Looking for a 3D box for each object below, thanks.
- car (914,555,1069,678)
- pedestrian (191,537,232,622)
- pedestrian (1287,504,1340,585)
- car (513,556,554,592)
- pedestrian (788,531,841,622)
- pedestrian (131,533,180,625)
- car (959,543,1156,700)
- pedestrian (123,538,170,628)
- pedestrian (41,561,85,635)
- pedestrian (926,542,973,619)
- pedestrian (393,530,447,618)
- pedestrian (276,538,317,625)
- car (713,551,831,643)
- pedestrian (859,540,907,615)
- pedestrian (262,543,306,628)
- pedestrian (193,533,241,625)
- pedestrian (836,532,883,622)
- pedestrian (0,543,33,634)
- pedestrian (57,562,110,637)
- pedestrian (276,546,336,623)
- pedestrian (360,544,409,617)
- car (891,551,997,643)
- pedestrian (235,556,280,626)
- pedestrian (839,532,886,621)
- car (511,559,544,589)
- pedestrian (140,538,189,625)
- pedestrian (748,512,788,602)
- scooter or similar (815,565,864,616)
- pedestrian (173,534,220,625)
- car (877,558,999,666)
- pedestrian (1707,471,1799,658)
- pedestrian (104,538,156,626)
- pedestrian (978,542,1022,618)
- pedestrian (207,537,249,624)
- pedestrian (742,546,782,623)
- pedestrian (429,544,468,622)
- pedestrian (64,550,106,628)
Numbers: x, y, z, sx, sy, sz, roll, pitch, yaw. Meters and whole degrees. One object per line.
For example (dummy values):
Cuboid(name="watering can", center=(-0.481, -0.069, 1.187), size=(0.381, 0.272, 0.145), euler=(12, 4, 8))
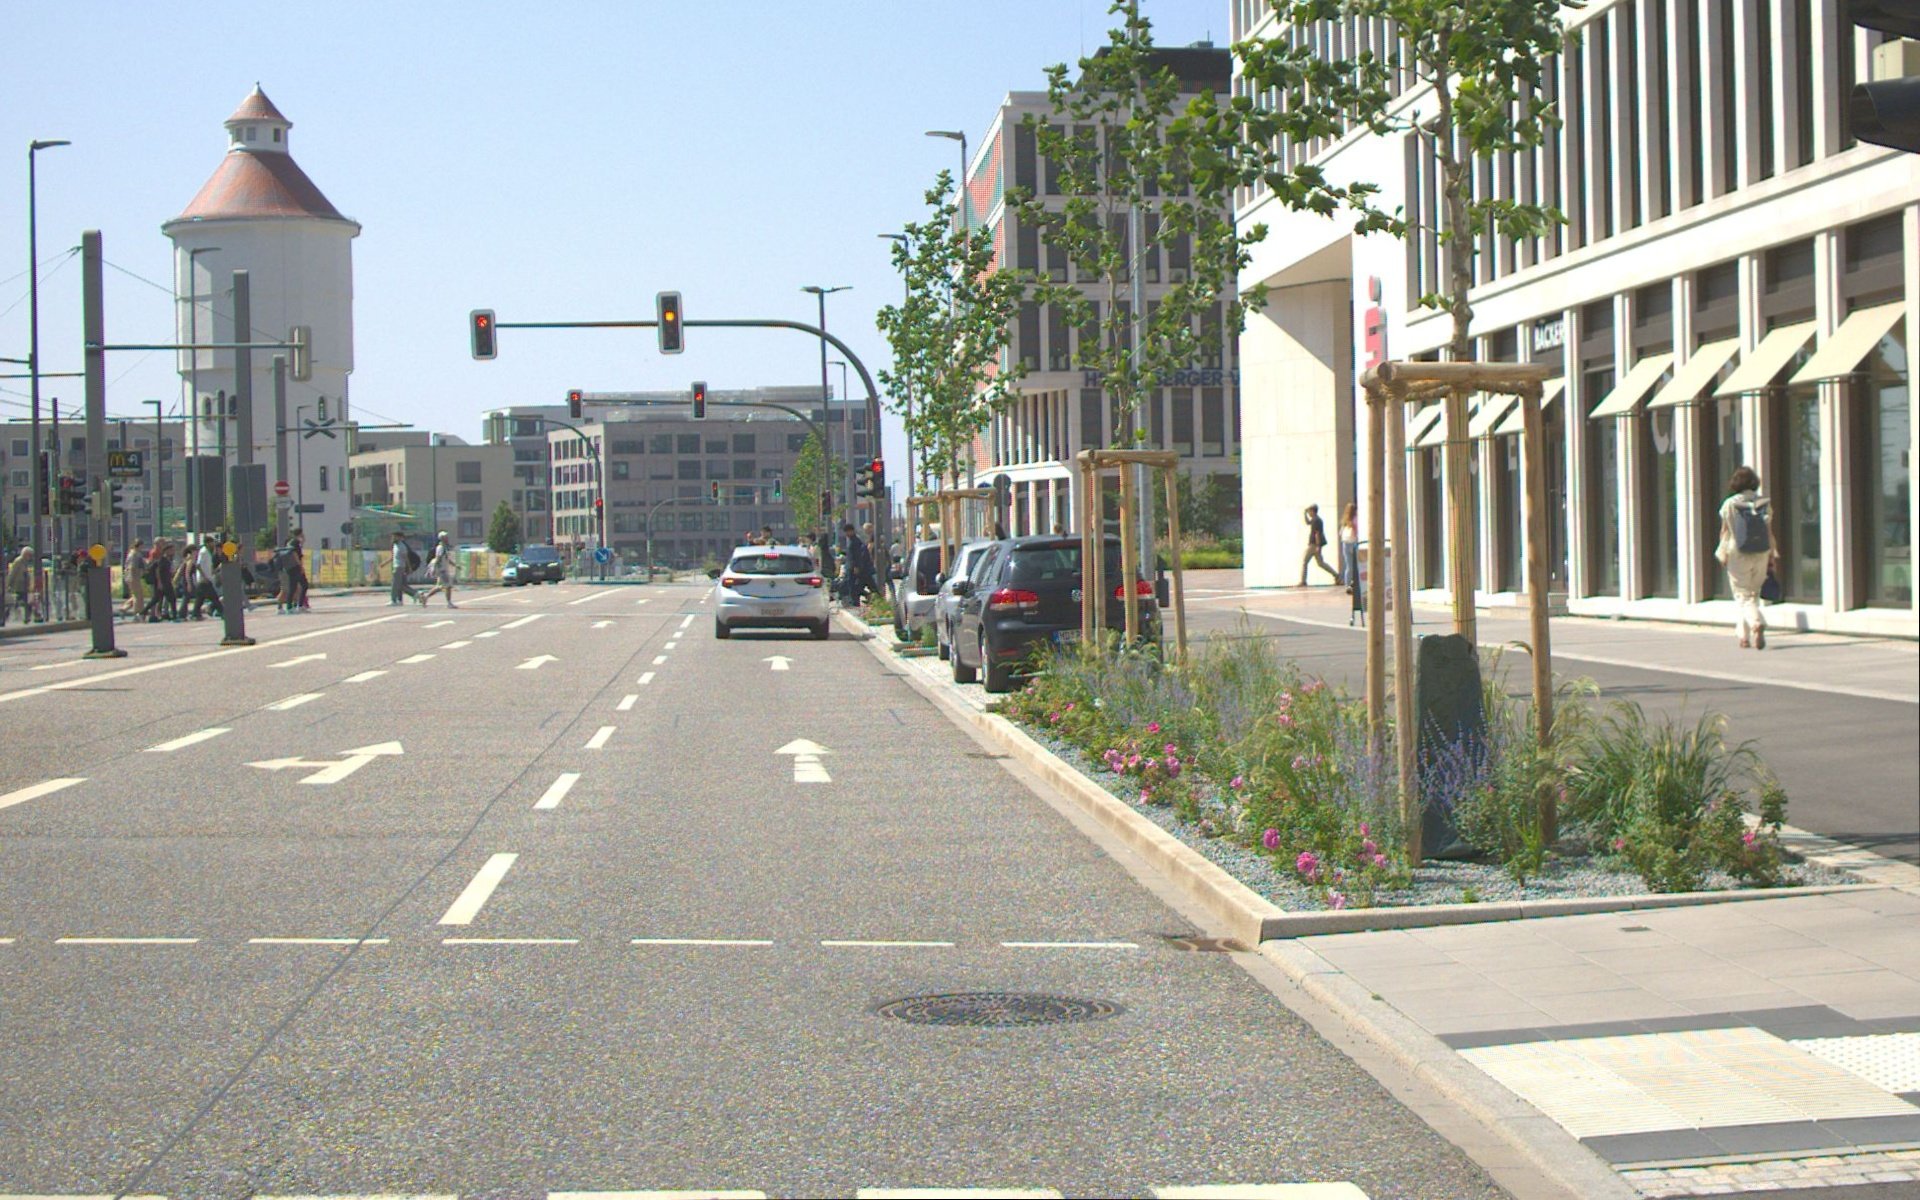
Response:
Cuboid(name="car", center=(0.344, 0.165, 41.907), size=(1.605, 1.383, 3.815), euler=(-2, 1, -3))
Cuboid(name="pedestrian", center=(-16.800, -0.460, 77.153), size=(0.734, 1.884, 0.713), euler=(1, 0, 2))
Cuboid(name="pedestrian", center=(7.316, -1.140, 71.128), size=(0.990, 1.649, 0.692), euler=(-1, 1, -1))
Cuboid(name="car", center=(-18.505, -1.128, 149.313), size=(1.586, 1.525, 3.693), euler=(0, 0, -4))
Cuboid(name="pedestrian", center=(-3.034, -0.491, 71.743), size=(1.013, 1.884, 0.798), euler=(-1, 1, -6))
Cuboid(name="pedestrian", center=(-16.636, -0.434, 71.133), size=(0.887, 1.884, 0.692), euler=(-1, 1, -8))
Cuboid(name="car", center=(0.914, 0.196, 34.204), size=(1.736, 1.469, 3.980), euler=(0, 0, -2))
Cuboid(name="pedestrian", center=(-17.266, -0.370, 72.974), size=(0.887, 1.884, 0.692), euler=(-1, 1, -8))
Cuboid(name="pedestrian", center=(-19.201, -0.053, 73.593), size=(0.728, 1.570, 0.641), euler=(-1, 1, 2))
Cuboid(name="pedestrian", center=(-0.222, -0.418, 73.020), size=(0.887, 1.629, 0.692), euler=(-1, 1, -8))
Cuboid(name="pedestrian", center=(-12.603, -0.605, 80.236), size=(1.020, 2.007, 0.954), euler=(-1, 1, -21))
Cuboid(name="pedestrian", center=(-14.617, -0.415, 75.768), size=(0.766, 1.884, 0.692), euler=(-1, 1, -2))
Cuboid(name="car", center=(-2.964, -0.024, 54.750), size=(1.771, 1.390, 3.532), euler=(1, -1, -1))
Cuboid(name="pedestrian", center=(-1.714, -0.501, 76.466), size=(0.887, 1.641, 0.796), euler=(-1, 1, -13))
Cuboid(name="pedestrian", center=(-15.070, -0.325, 76.656), size=(0.841, 1.884, 0.692), euler=(-1, 1, -2))
Cuboid(name="pedestrian", center=(-15.474, -0.436, 71.611), size=(0.887, 1.884, 0.692), euler=(-1, 1, -8))
Cuboid(name="pedestrian", center=(-2.129, -0.492, 72.751), size=(0.887, 1.884, 0.796), euler=(-1, 1, -8))
Cuboid(name="pedestrian", center=(-19.790, -0.240, 71.765), size=(0.636, 1.884, 0.796), euler=(-1, 1, -2))
Cuboid(name="pedestrian", center=(-19.407, -0.020, 76.133), size=(0.910, 1.631, 0.814), euler=(-1, 1, 2))
Cuboid(name="pedestrian", center=(-15.531, -0.373, 81.656), size=(1.181, 1.814, 1.068), euler=(-1, 1, 1))
Cuboid(name="pedestrian", center=(-13.342, -0.445, 79.734), size=(0.893, 1.668, 1.013), euler=(-1, 1, -21))
Cuboid(name="car", center=(-0.284, -0.067, 54.331), size=(1.429, 1.385, 4.001), euler=(-1, 1, -3))
Cuboid(name="pedestrian", center=(-16.844, -0.215, 82.428), size=(0.888, 1.641, 0.796), euler=(-1, 1, 1))
Cuboid(name="pedestrian", center=(-2.095, -0.502, 73.590), size=(0.887, 1.884, 0.796), euler=(-1, 1, -8))
Cuboid(name="car", center=(-22.180, -1.323, 176.565), size=(1.586, 1.525, 3.258), euler=(0, 0, -5))
Cuboid(name="pedestrian", center=(-17.469, -0.412, 75.539), size=(0.887, 1.884, 0.796), euler=(-1, 1, -3))
Cuboid(name="pedestrian", center=(-4.061, -0.915, 72.691), size=(0.730, 1.884, 0.821), euler=(-1, 1, 3))
Cuboid(name="scooter or similar", center=(-2.673, -0.217, 76.289), size=(0.950, 1.114, 0.767), euler=(-1, 1, -13))
Cuboid(name="pedestrian", center=(-16.063, -0.429, 72.357), size=(0.887, 1.884, 0.692), euler=(-1, 1, -8))
Cuboid(name="car", center=(-0.349, 0.147, 49.601), size=(1.556, 1.467, 3.470), euler=(-1, 1, -3))
Cuboid(name="pedestrian", center=(7.516, -0.339, 32.604), size=(0.627, 1.736, 0.814), euler=(-1, 1, -3))
Cuboid(name="pedestrian", center=(-18.015, -0.399, 74.625), size=(0.888, 1.884, 0.796), euler=(-1, 1, 2))
Cuboid(name="pedestrian", center=(0.862, -0.424, 73.975), size=(0.766, 1.614, 0.691), euler=(-1, 1, 13))
Cuboid(name="pedestrian", center=(-15.894, -0.424, 74.644), size=(0.766, 1.884, 0.692), euler=(-1, 1, -2))
Cuboid(name="pedestrian", center=(-4.245, -0.334, 73.749), size=(0.794, 1.641, 0.891), euler=(-1, 1, -1))
Cuboid(name="pedestrian", center=(-11.450, -0.381, 77.033), size=(0.766, 1.728, 0.692), euler=(-1, 1, -2))
Cuboid(name="pedestrian", center=(-18.420, -0.233, 72.402), size=(0.633, 1.612, 0.768), euler=(-1, 1, 3))
